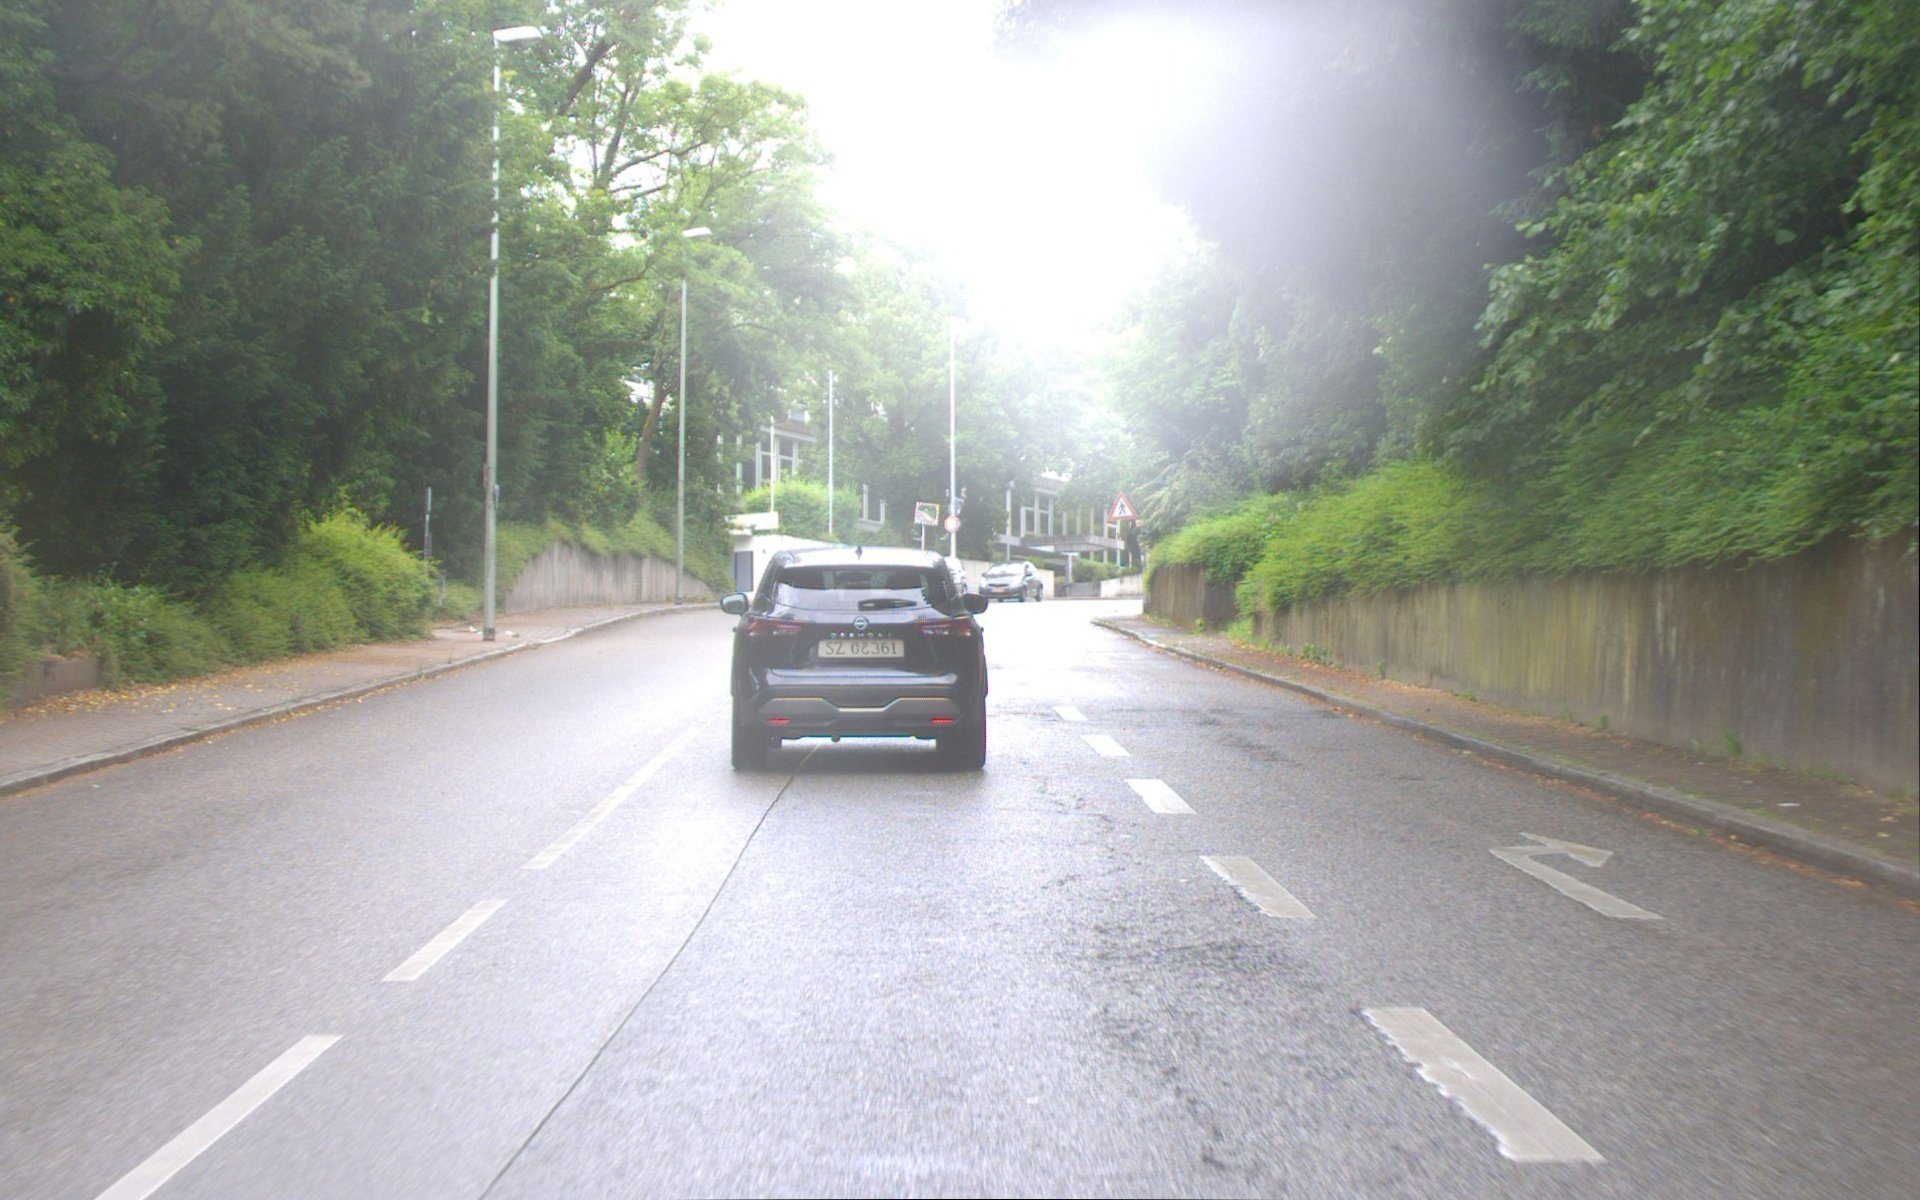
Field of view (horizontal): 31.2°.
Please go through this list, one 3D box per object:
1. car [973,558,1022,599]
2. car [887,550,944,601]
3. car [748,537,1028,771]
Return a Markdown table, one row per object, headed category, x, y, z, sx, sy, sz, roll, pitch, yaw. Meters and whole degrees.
| category | x | y | z | sx | sy | sz | roll | pitch | yaw |
| --- | --- | --- | --- | --- | --- | --- | --- | --- | --- |
| car | 1.366 | -0.802 | 126.904 | 1.675 | 1.491 | 3.460 | 0 | 1 | -1 |
| car | -1.545 | -0.844 | 118.069 | 1.830 | 1.705 | 4.000 | 1 | 1 | -2 |
| car | -0.531 | 0.349 | 25.739 | 1.928 | 1.607 | 4.000 | 0 | 1 | -1 |
